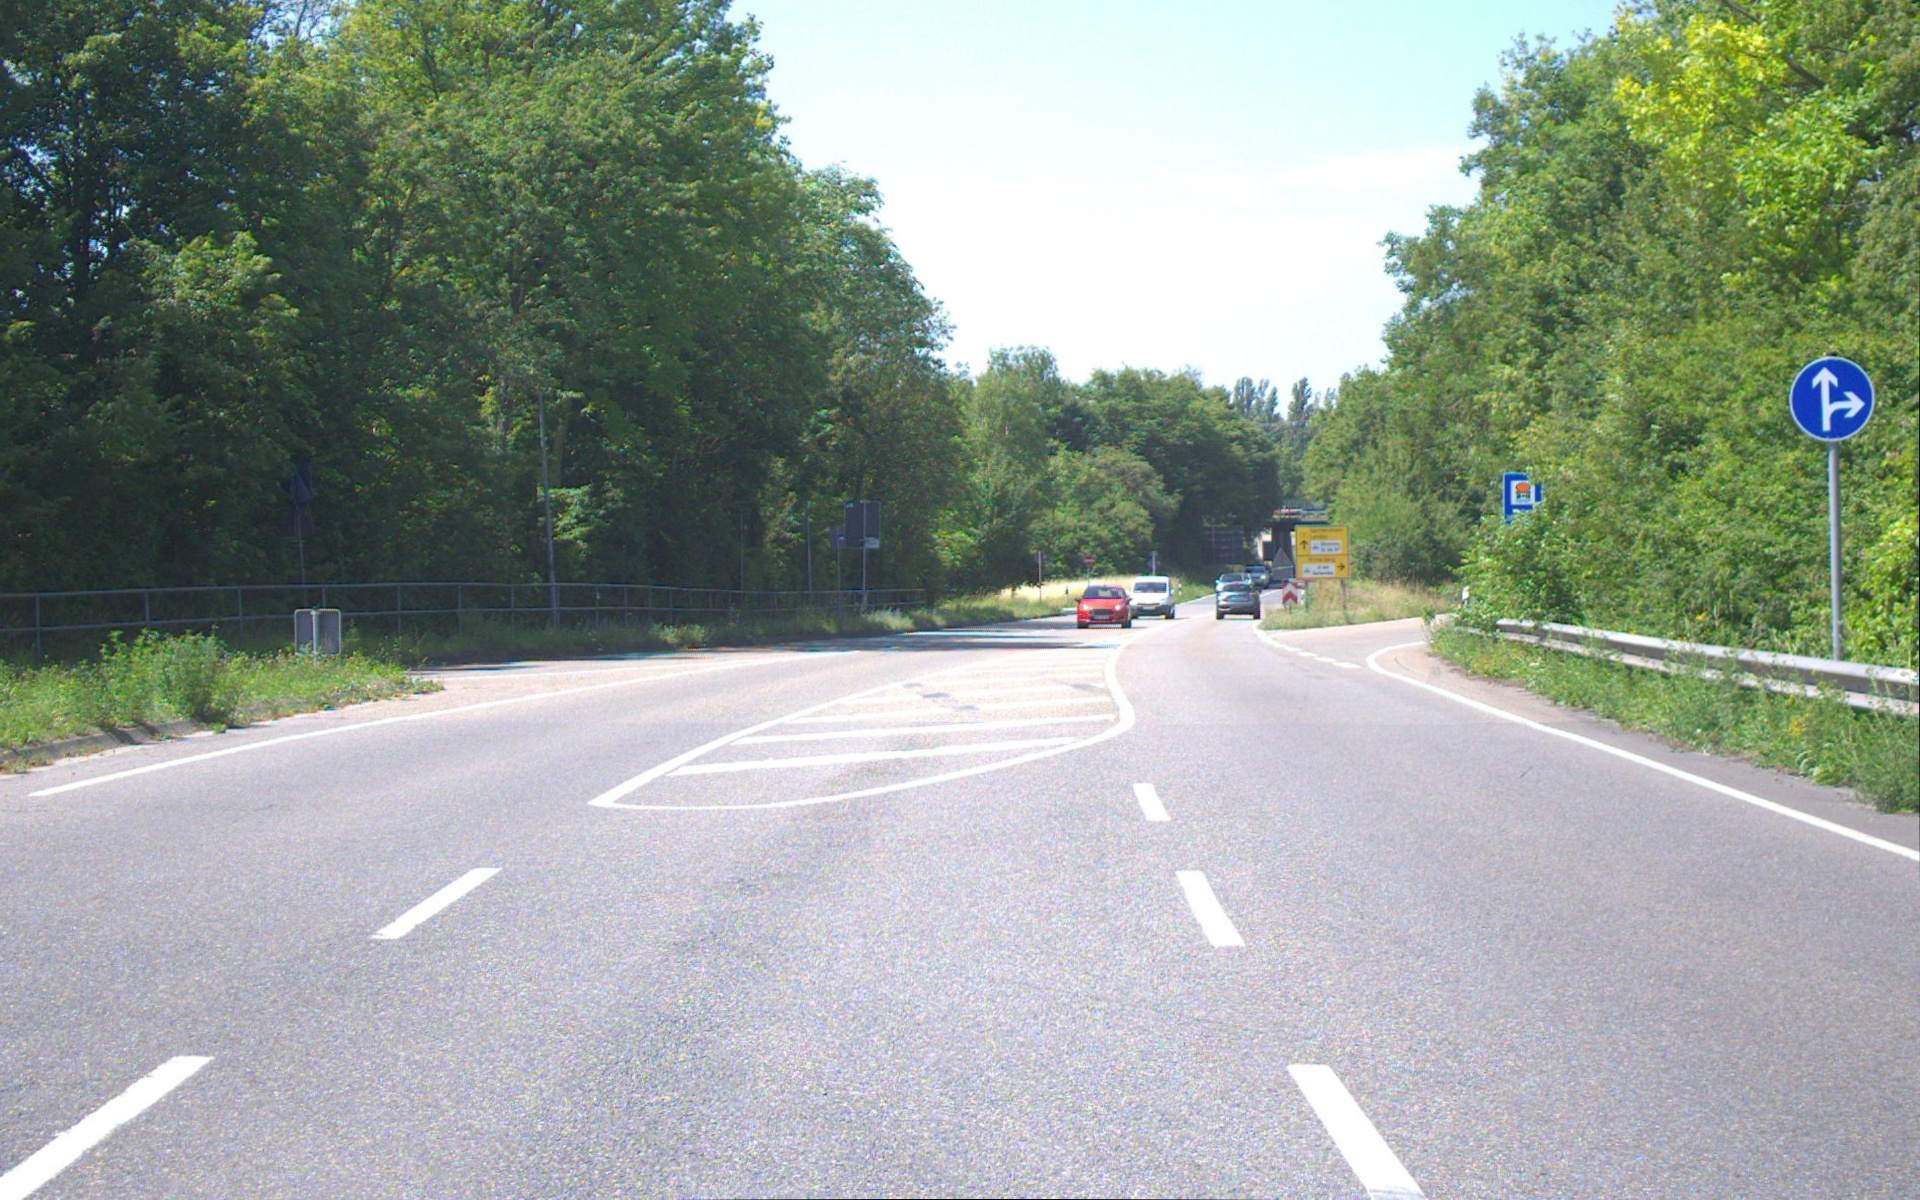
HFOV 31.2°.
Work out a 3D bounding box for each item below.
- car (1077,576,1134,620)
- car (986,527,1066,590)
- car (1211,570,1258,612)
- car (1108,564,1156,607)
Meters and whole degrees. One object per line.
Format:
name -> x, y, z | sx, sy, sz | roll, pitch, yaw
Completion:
car -> 4.923, -0.077, 116.137 | 1.810, 1.453, 3.757 | 0, 1, 4
car -> 3.403, -2.162, 178.764 | 1.993, 3.215, 4.809 | -1, 1, -28
car -> 11.442, -0.394, 143.469 | 1.843, 1.679, 4.000 | 0, 1, 3
car -> 7.288, -0.634, 145.405 | 1.994, 1.724, 4.274 | -1, 1, 3
